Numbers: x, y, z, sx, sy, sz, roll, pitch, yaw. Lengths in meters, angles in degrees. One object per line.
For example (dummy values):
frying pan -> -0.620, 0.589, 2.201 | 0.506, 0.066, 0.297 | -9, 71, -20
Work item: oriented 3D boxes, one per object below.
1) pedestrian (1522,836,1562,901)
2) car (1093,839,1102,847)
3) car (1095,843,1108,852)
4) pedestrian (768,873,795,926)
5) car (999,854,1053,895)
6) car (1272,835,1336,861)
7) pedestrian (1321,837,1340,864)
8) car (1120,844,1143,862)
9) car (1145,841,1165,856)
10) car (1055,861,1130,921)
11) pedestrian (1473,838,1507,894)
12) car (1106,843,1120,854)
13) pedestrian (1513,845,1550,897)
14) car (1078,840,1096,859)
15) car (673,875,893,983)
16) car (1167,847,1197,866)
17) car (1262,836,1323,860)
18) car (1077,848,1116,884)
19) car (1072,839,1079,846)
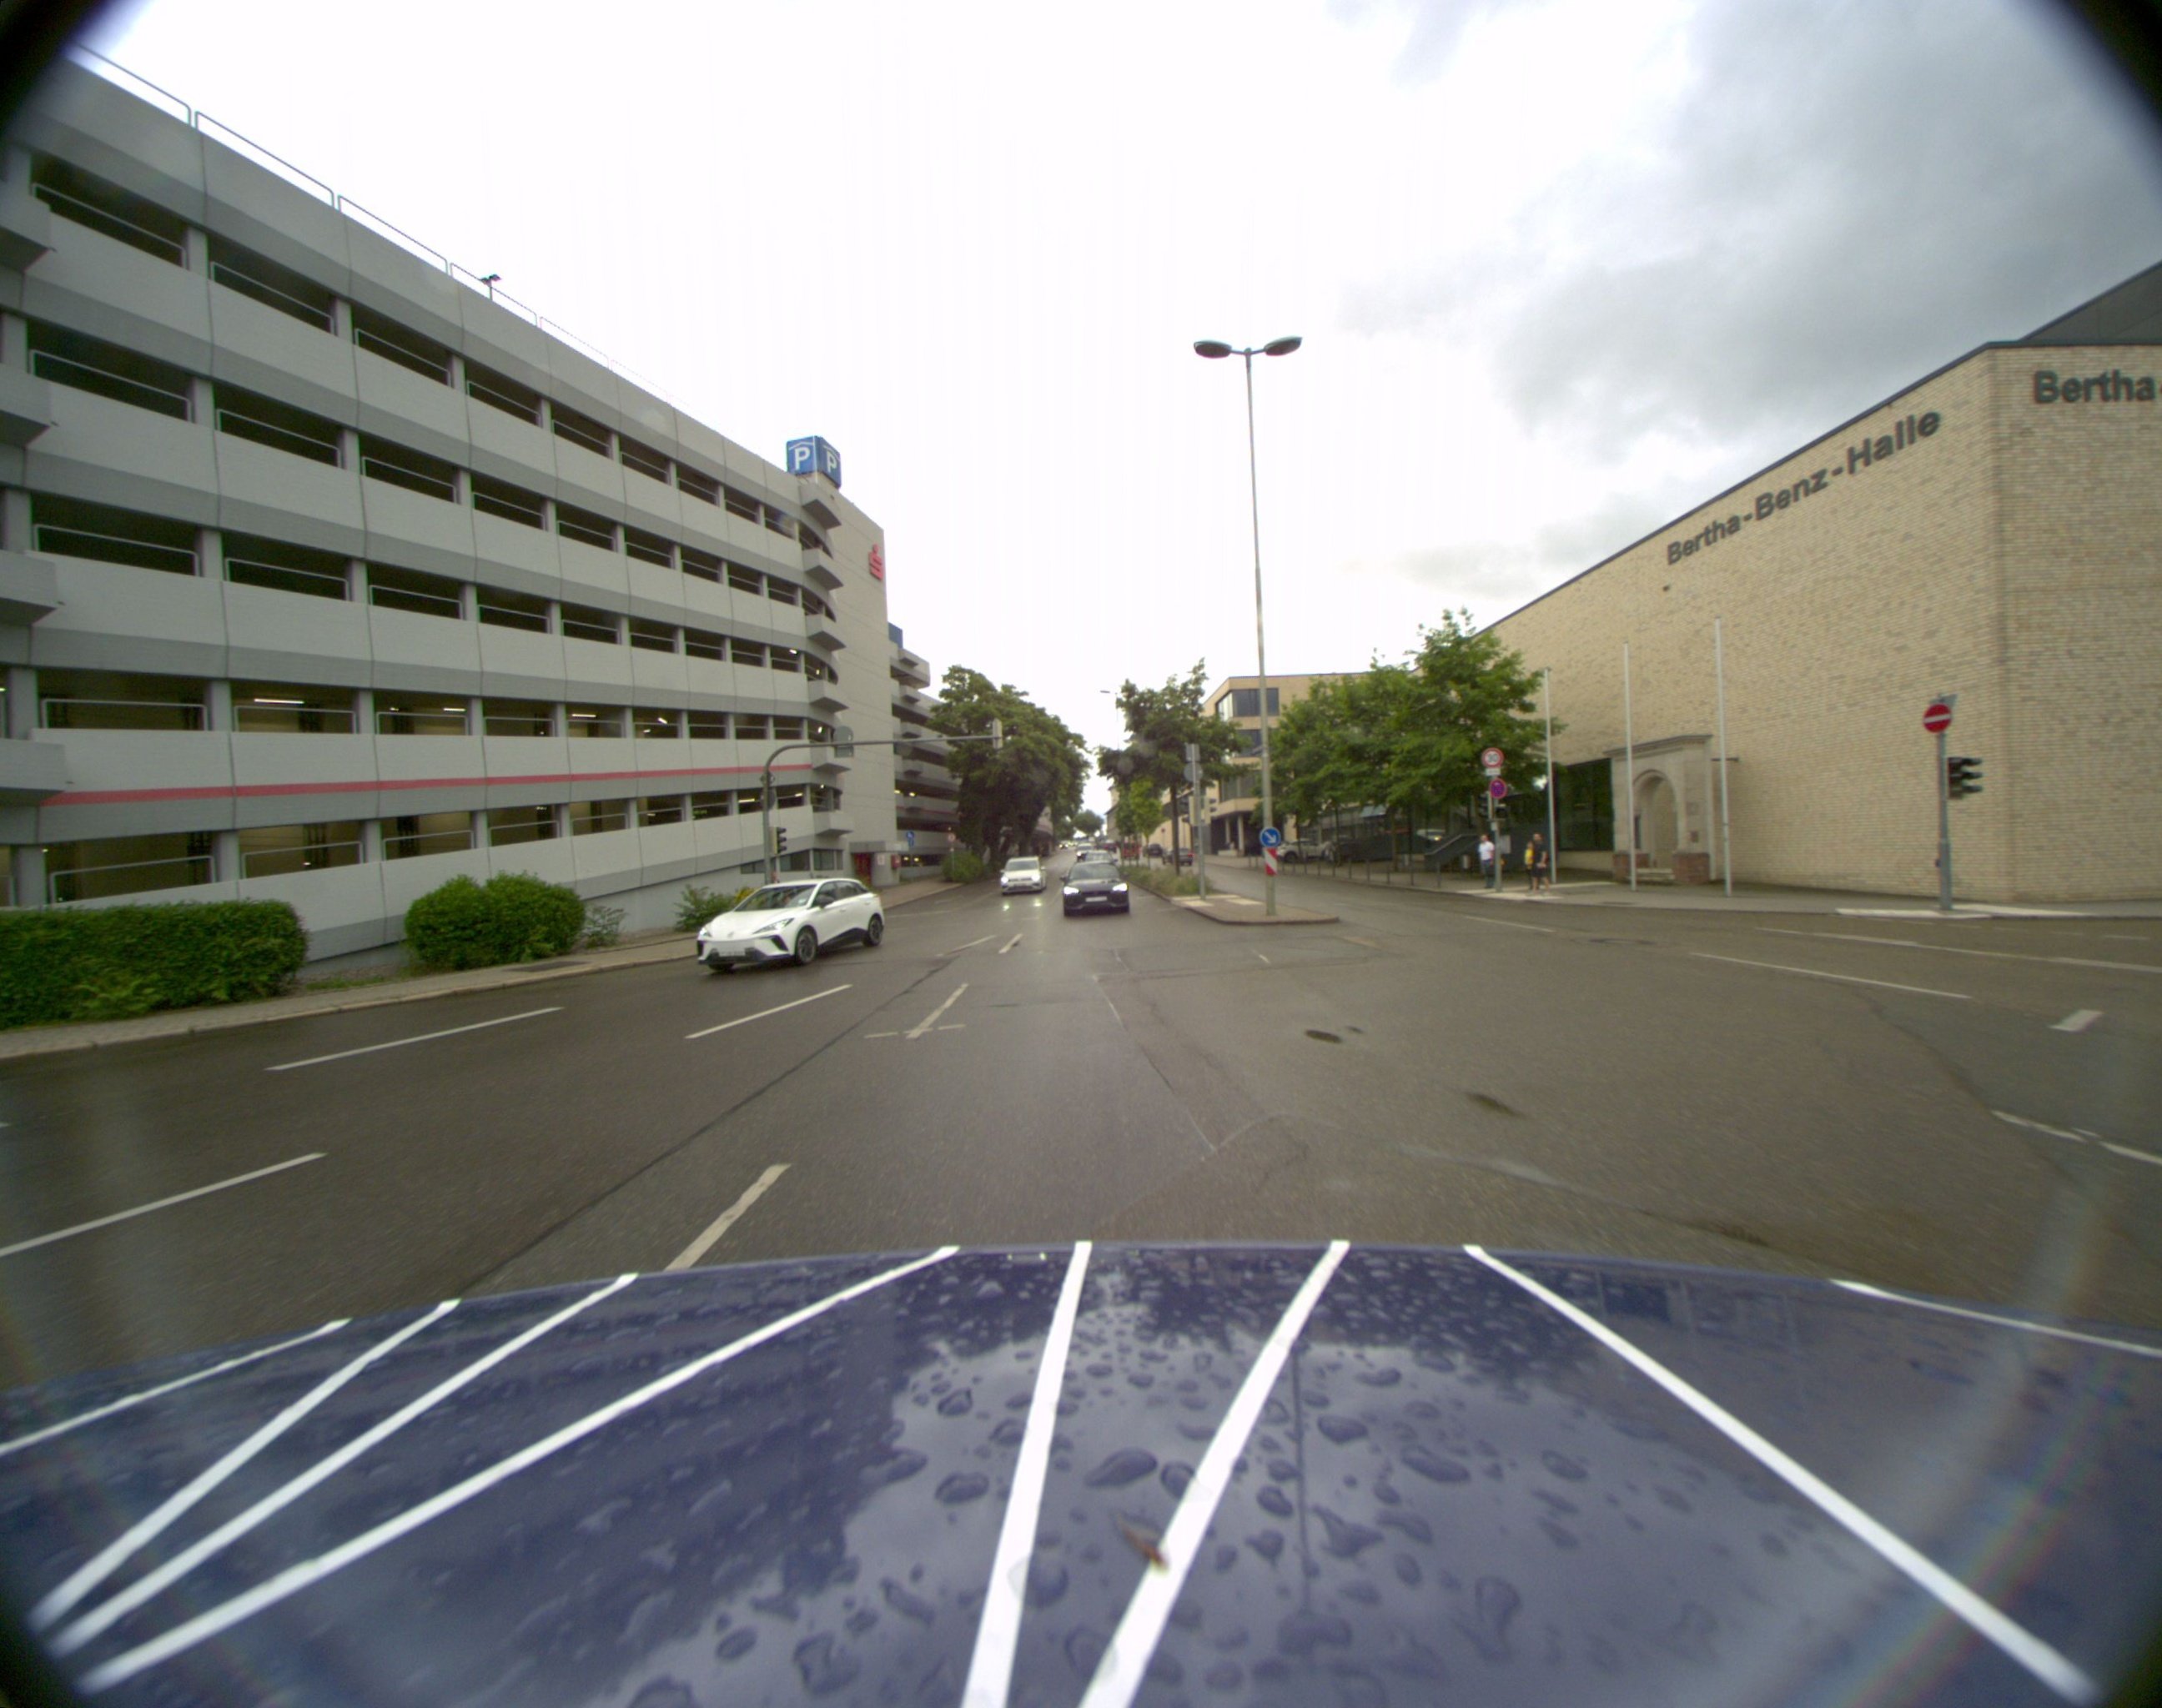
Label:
pedestrian -> 12.949, 0.405, 21.342 | 0.595, 1.761, 0.692 | -4, 1, -1
car -> 3.729, -2.481, 170.569 | 1.855, 1.841, 4.299 | 1, 0, -2
car -> 3.735, -1.221, 139.233 | 2.028, 1.598, 4.299 | 1, 0, -2
pedestrian -> -9.702, 1.464, 24.622 | 0.584, 1.650, 0.519 | 1, 2, 17
car -> -2.476, 0.891, 35.080 | 1.998, 1.716, 4.400 | -2, 0, 2
car -> 15.981, -0.437, 54.694 | 3.996, 1.576, 2.000 | -4, 1, 3
pedestrian -> 15.494, -0.217, 47.187 | 0.804, 1.638, 0.976 | -4, 1, 6
car -> 5.292, -0.105, 80.105 | 1.855, 1.841, 4.299 | 1, 0, -2
car -> 8.431, -0.617, 86.801 | 1.676, 1.598, 4.299 | 1, 0, -2
car -> 0.224, 0.972, 22.046 | 1.739, 1.380, 4.580 | -4, 1, -3
pedestrian -> 13.002, 0.384, 24.188 | 0.596, 1.721, 0.692 | -4, 1, -5
car -> 4.710, -0.765, 110.681 | 1.676, 1.598, 4.299 | 1, 0, -2
pedestrian -> 13.536, 0.506, 22.835 | 0.595, 1.508, 0.692 | -4, 1, -1
car -> 0.643, -0.483, 80.025 | 1.805, 1.818, 3.949 | -4, 0, 1
car -> -5.341, 1.277, 14.328 | 1.803, 1.469, 4.212 | -4, 0, 10
car -> 8.081, 0.155, 61.038 | 1.676, 1.461, 4.299 | 0, 0, -2
car -> 15.869, -0.454, 57.098 | 3.996, 1.576, 2.000 | -4, 1, 3
car -> 0.765, 0.567, 39.787 | 1.846, 1.647, 3.999 | -4, 1, 0
car -> -1.584, -3.362, 220.777 | 1.999, 1.716, 4.400 | -2, 0, 0
